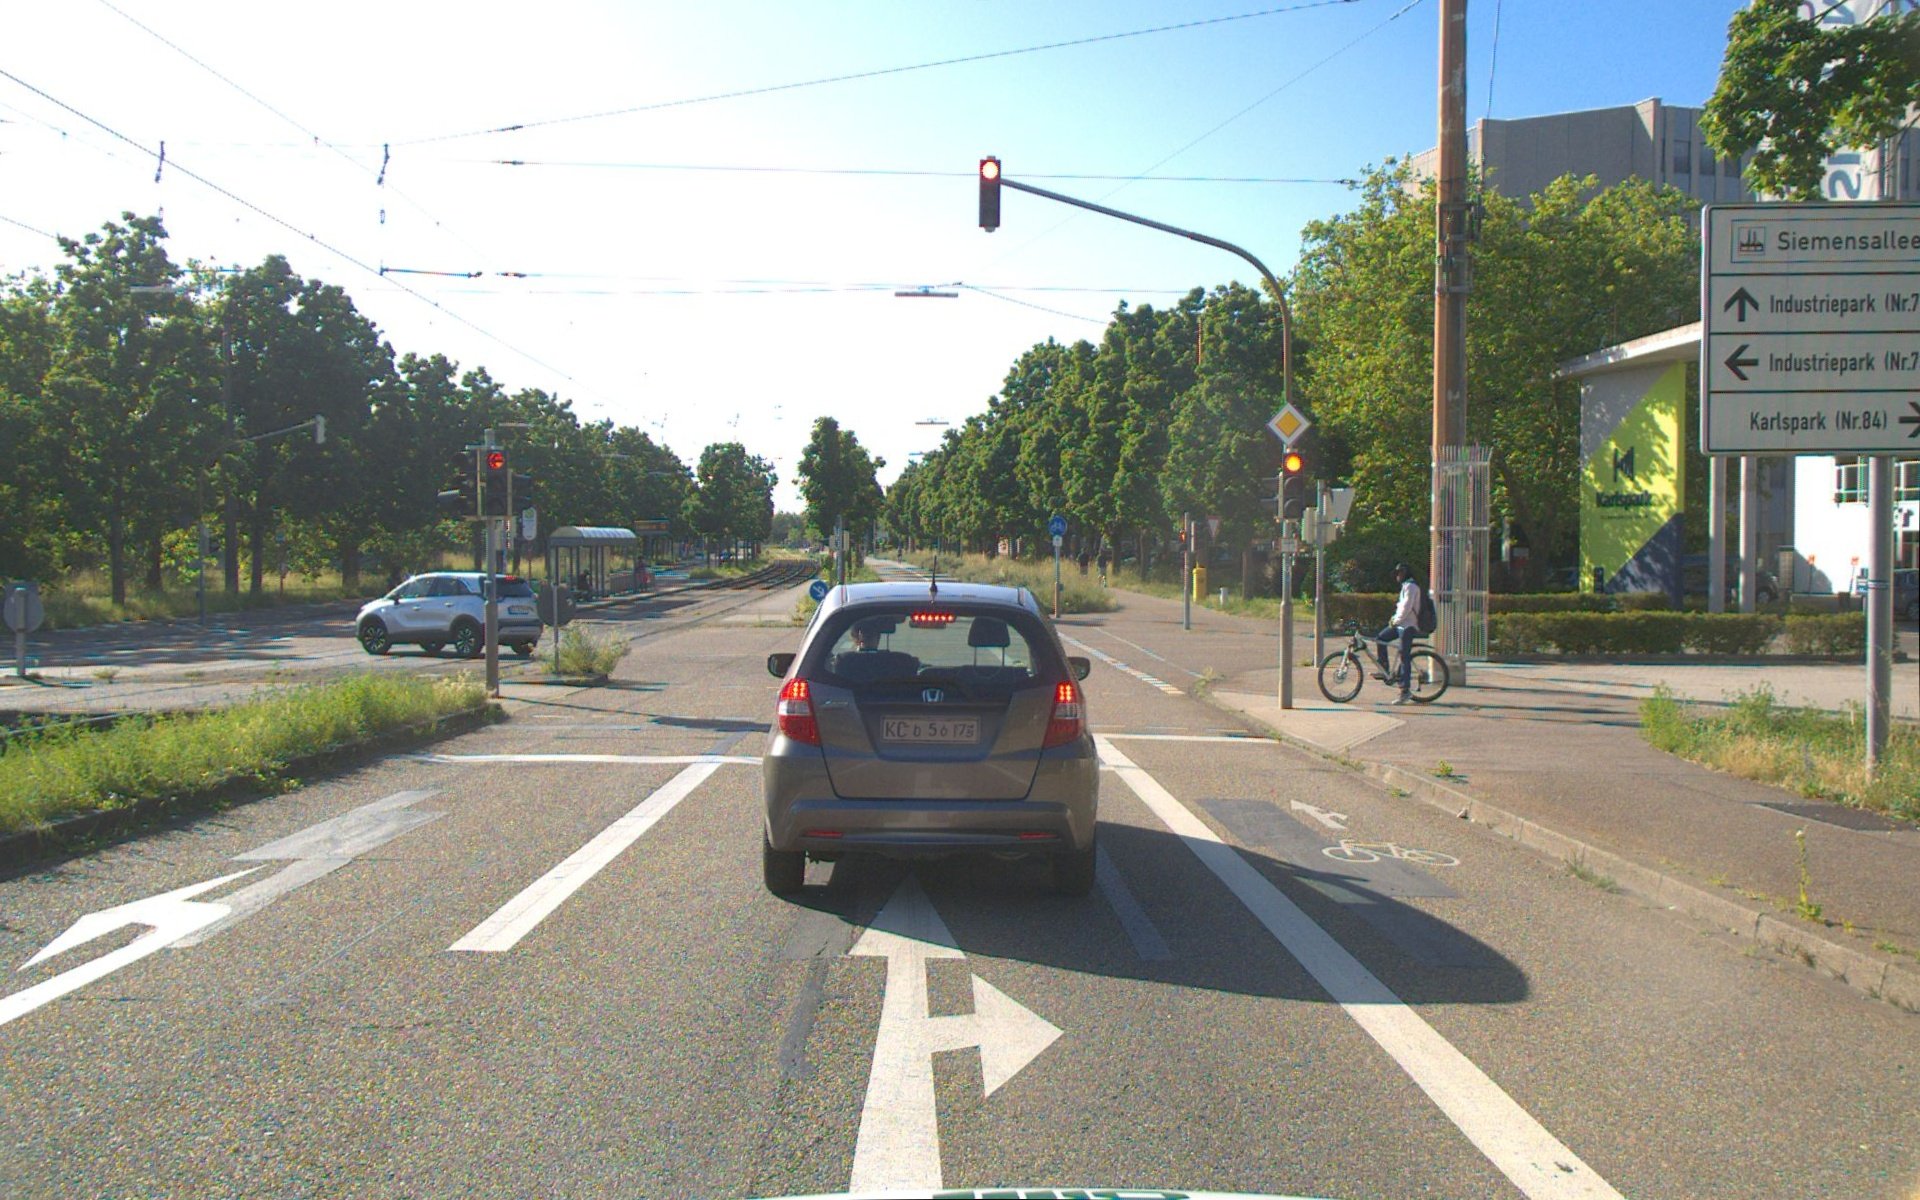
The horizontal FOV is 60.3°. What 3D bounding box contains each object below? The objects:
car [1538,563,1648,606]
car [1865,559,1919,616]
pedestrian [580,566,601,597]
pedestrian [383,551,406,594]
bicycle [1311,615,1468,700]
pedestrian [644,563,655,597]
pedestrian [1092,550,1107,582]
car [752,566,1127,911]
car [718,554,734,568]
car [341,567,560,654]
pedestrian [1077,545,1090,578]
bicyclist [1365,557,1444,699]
[{"bbox_3d":[26.594,-0.654,69.560,3.919,1.788,1.993,0,1,-14],"label":"car"},{"bbox_3d":[31.091,-0.394,52.417,3.914,1.750,1.895,0,1,-10],"label":"car"},{"bbox_3d":[-15.054,-0.749,67.326,0.706,1.267,0.710,-1,1,-3],"label":"pedestrian"},{"bbox_3d":[-27.336,-1.315,79.938,0.823,2.049,0.863,0,1,-3],"label":"pedestrian"},{"bbox_3d":[5.536,0.737,21.399,1.879,1.015,0.765,-2,0,10],"label":"bicycle"},{"bbox_3d":[-15.382,-0.994,81.958,0.493,1.705,0.387,0,1,-12],"label":"pedestrian"},{"bbox_3d":[7.094,-1.731,84.078,0.664,1.638,0.720,1,0,-3],"label":"pedestrian"},{"bbox_3d":[-0.096,0.606,9.468,1.672,1.535,4.000,1,1,0],"label":"car"},{"bbox_3d":[-30.047,-5.032,212.212,1.731,1.768,3.998,0,0,-3],"label":"car"},{"bbox_3d":[-10.192,0.172,33.064,4.161,1.634,1.853,1,1,30],"label":"car"},{"bbox_3d":[6.265,-1.949,84.100,0.556,1.624,0.665,1,0,-5],"label":"pedestrian"},{"bbox_3d":[5.733,0.356,21.362,0.890,1.775,0.765,-1,0,10],"label":"bicyclist"}]
